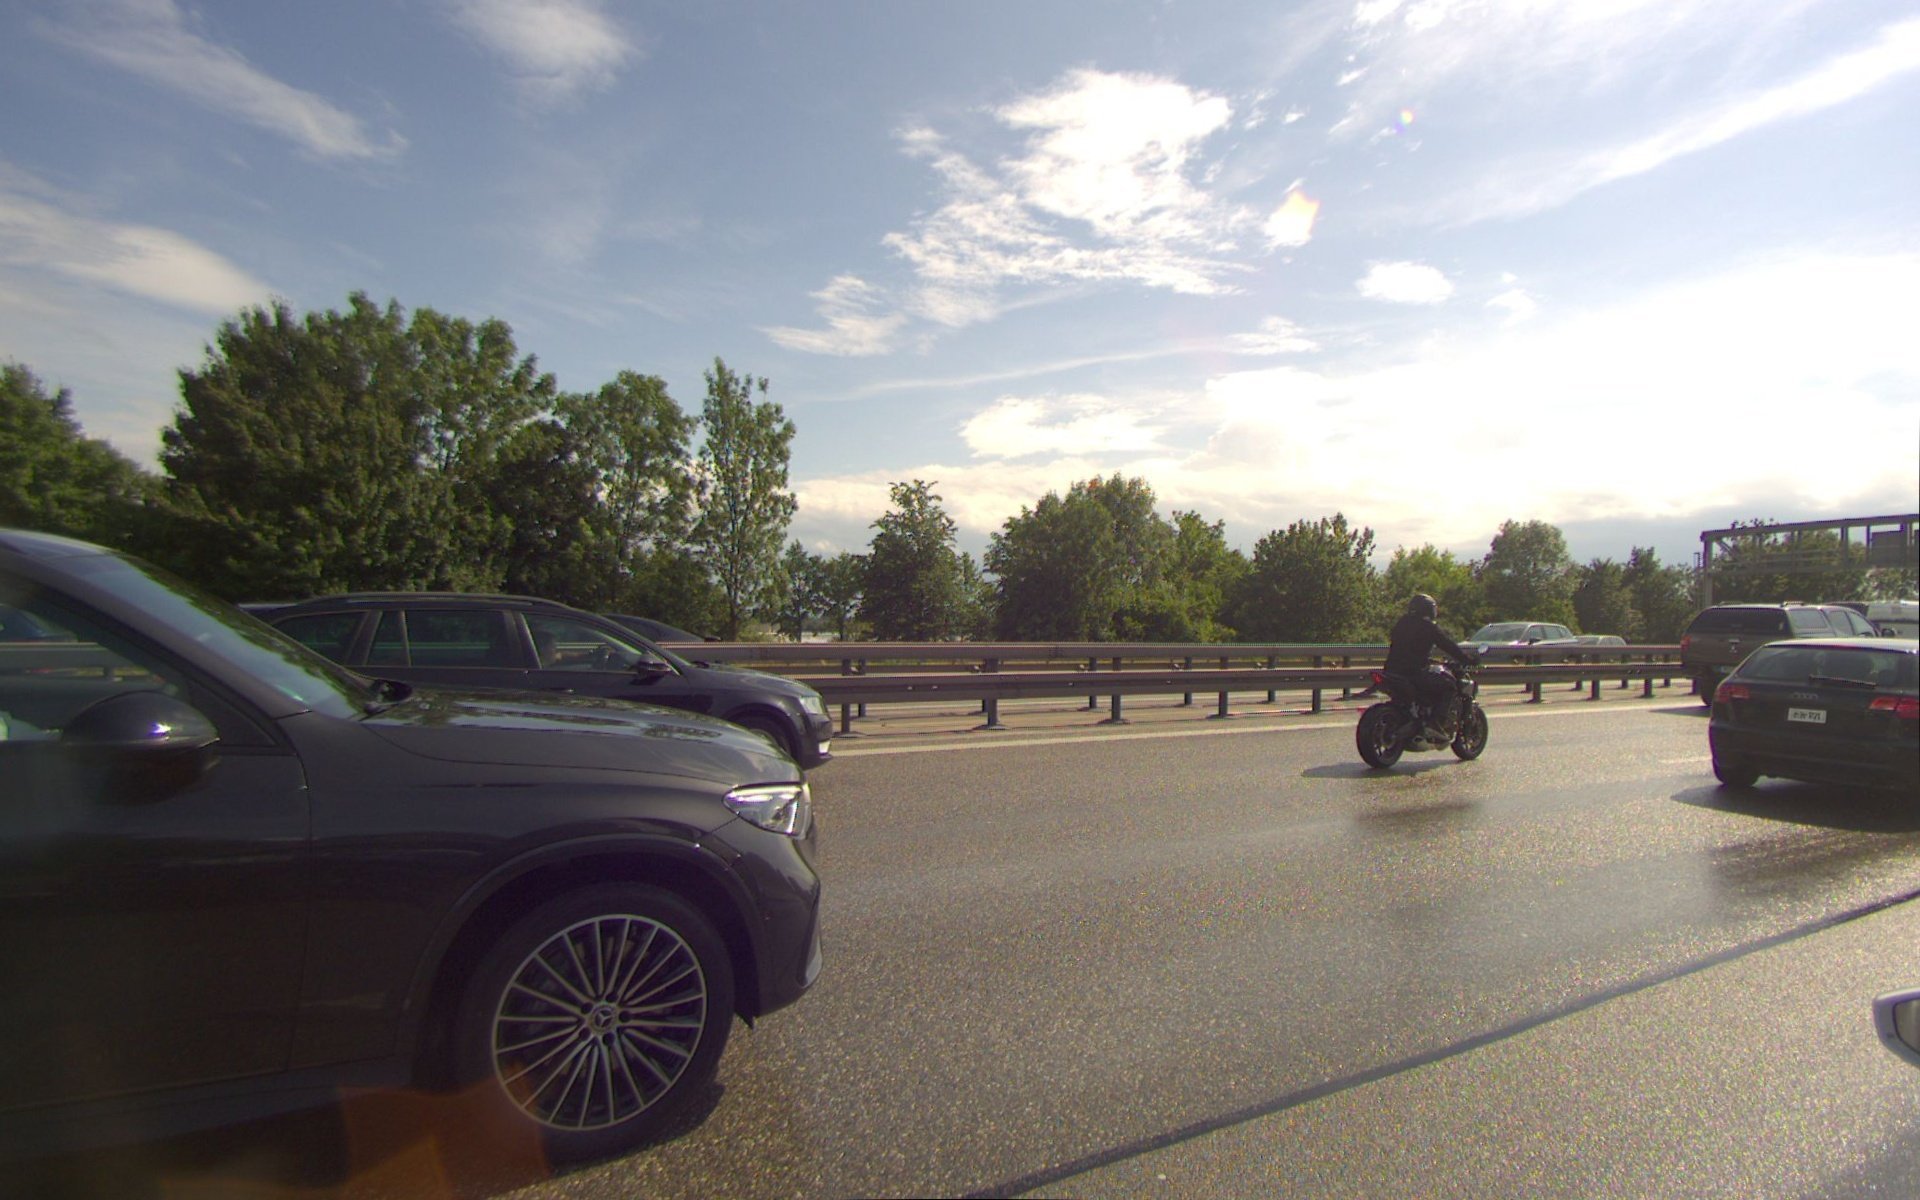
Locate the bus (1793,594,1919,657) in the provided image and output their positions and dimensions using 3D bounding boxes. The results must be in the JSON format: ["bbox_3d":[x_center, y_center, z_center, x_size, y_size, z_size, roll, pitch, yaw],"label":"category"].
[{"bbox_3d":[53.109,1.518,58.584,12.324,3.419,2.877,1,0,-30],"label":"bus"}]

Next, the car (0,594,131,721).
[{"bbox_3d":[-14.515,0.742,13.610,4.771,1.707,1.983,1,0,-31],"label":"car"}]

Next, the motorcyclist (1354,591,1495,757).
[{"bbox_3d":[4.631,0.703,10.024,1.080,1.558,0.792,1,0,-30],"label":"motorcyclist"}]

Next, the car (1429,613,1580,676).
[{"bbox_3d":[14.554,1.165,26.828,3.954,1.565,1.791,1,-1,-31],"label":"car"}]

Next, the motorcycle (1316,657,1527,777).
[{"bbox_3d":[4.640,1.116,10.034,2.360,1.041,0.687,1,0,-31],"label":"motorcycle"}]

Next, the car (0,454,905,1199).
[{"bbox_3d":[-2.611,0.550,2.707,4.571,1.701,1.868,1,0,-30],"label":"car"}]

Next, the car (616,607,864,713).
[{"bbox_3d":[-3.551,0.917,16.267,3.535,1.511,1.804,1,-1,-30],"label":"car"}]

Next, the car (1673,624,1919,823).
[{"bbox_3d":[8.532,0.982,9.220,4.006,1.452,1.742,1,0,-30],"label":"car"}]

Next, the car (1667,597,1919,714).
[{"bbox_3d":[15.154,0.939,18.134,5.353,1.869,1.798,1,0,-30],"label":"car"}]

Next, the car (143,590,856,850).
[{"bbox_3d":[-3.150,0.713,7.524,4.322,1.444,1.910,2,-1,-31],"label":"car"}]
